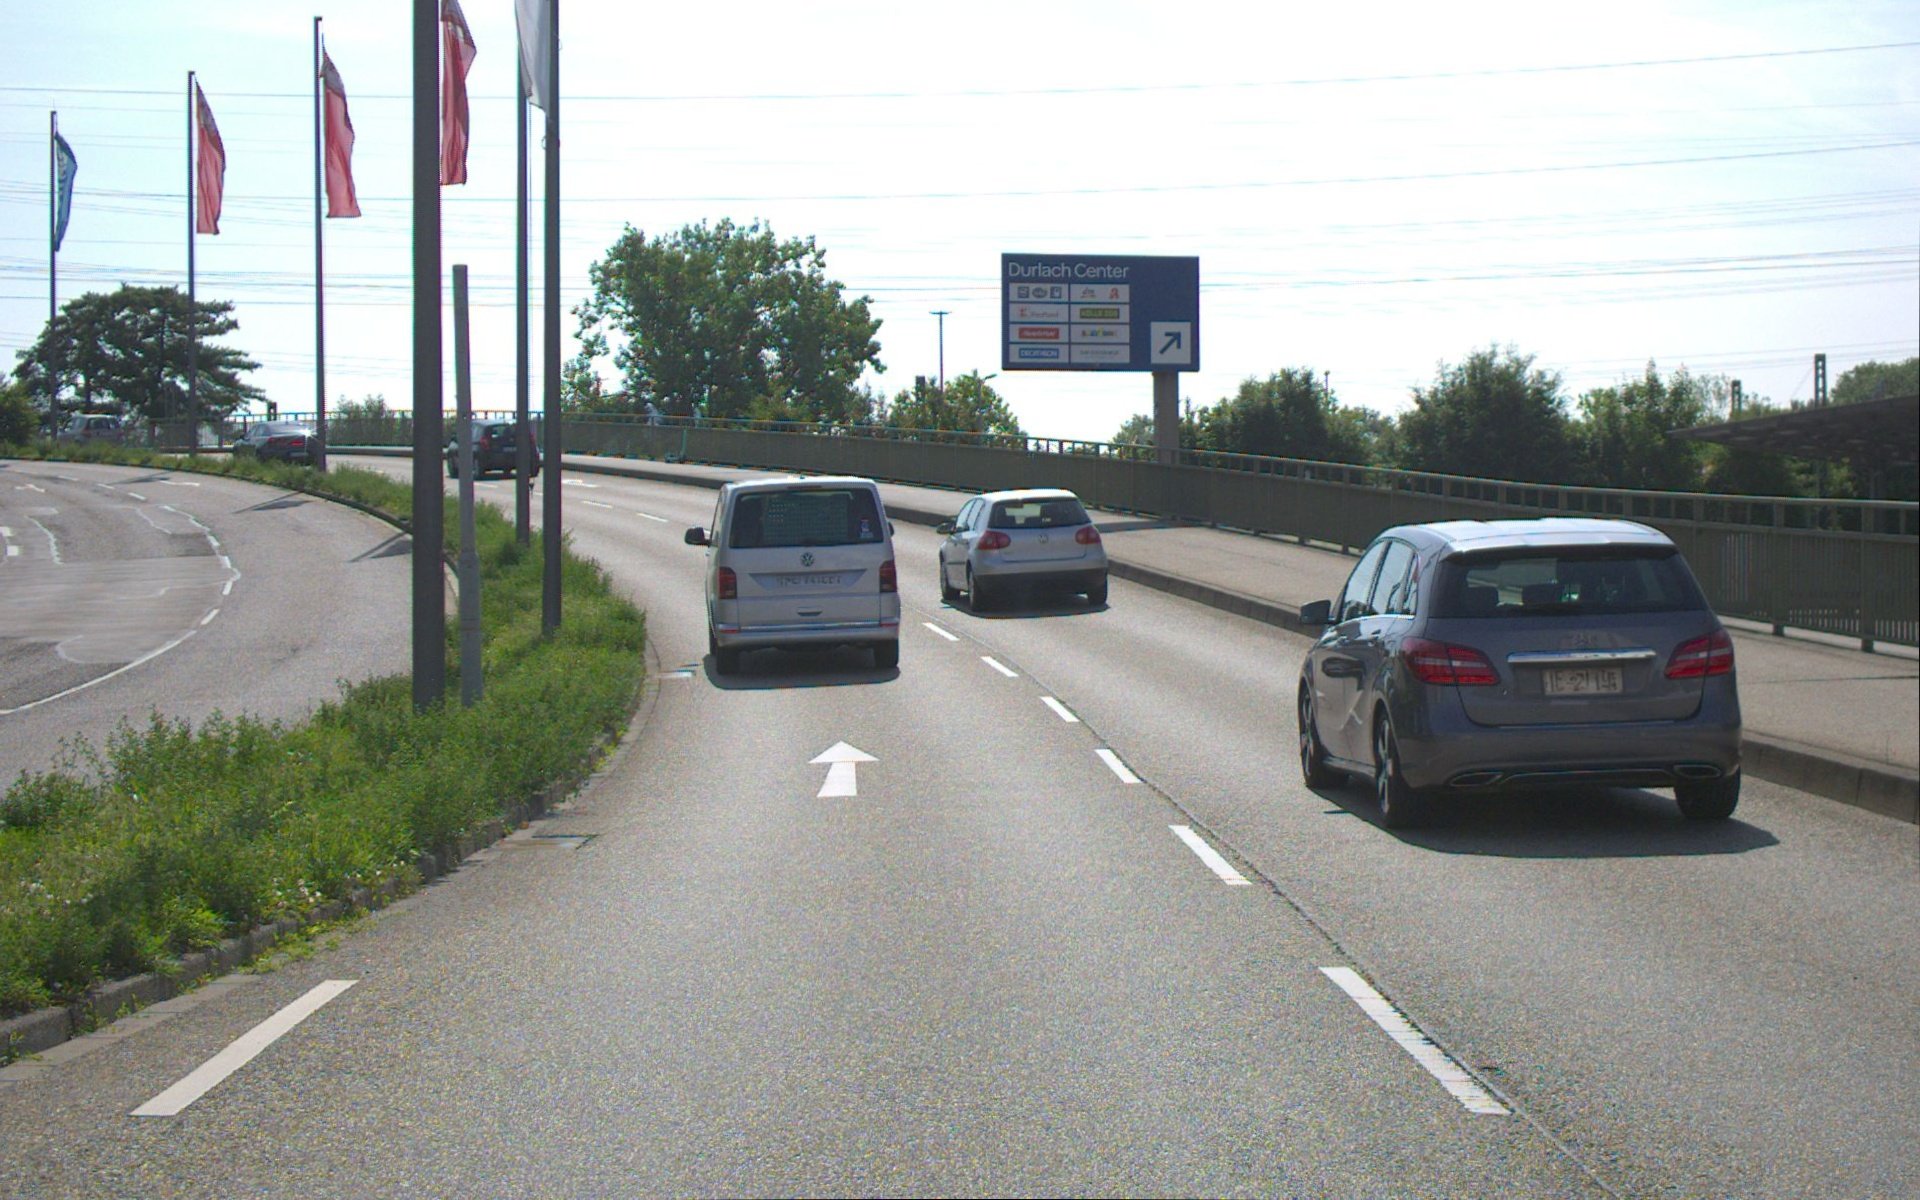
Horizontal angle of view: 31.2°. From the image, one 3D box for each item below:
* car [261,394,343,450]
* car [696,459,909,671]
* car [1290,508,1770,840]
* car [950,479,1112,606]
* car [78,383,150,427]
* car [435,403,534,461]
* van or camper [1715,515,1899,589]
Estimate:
[{"bbox_3d":[-18.852,-5.092,98.445,1.530,1.475,3.248,0,1,-25],"label":"car"},{"bbox_3d":[-1.566,-0.429,35.730,1.917,1.968,4.298,-2,3,0],"label":"car"},{"bbox_3d":[2.925,0.300,18.489,1.773,1.533,4.138,-1,2,-1],"label":"car"},{"bbox_3d":[0.880,-0.777,44.427,1.666,1.409,3.684,-2,4,-5],"label":"car"},{"bbox_3d":[-31.380,-7.211,127.487,1.531,1.475,3.425,1,1,-34],"label":"car"},{"bbox_3d":[-12.612,-4.455,91.110,1.530,1.474,3.597,0,3,-26],"label":"car"},{"bbox_3d":[27.372,-1.525,111.162,5.418,2.171,2.106,2,0,-17],"label":"van or camper"}]
